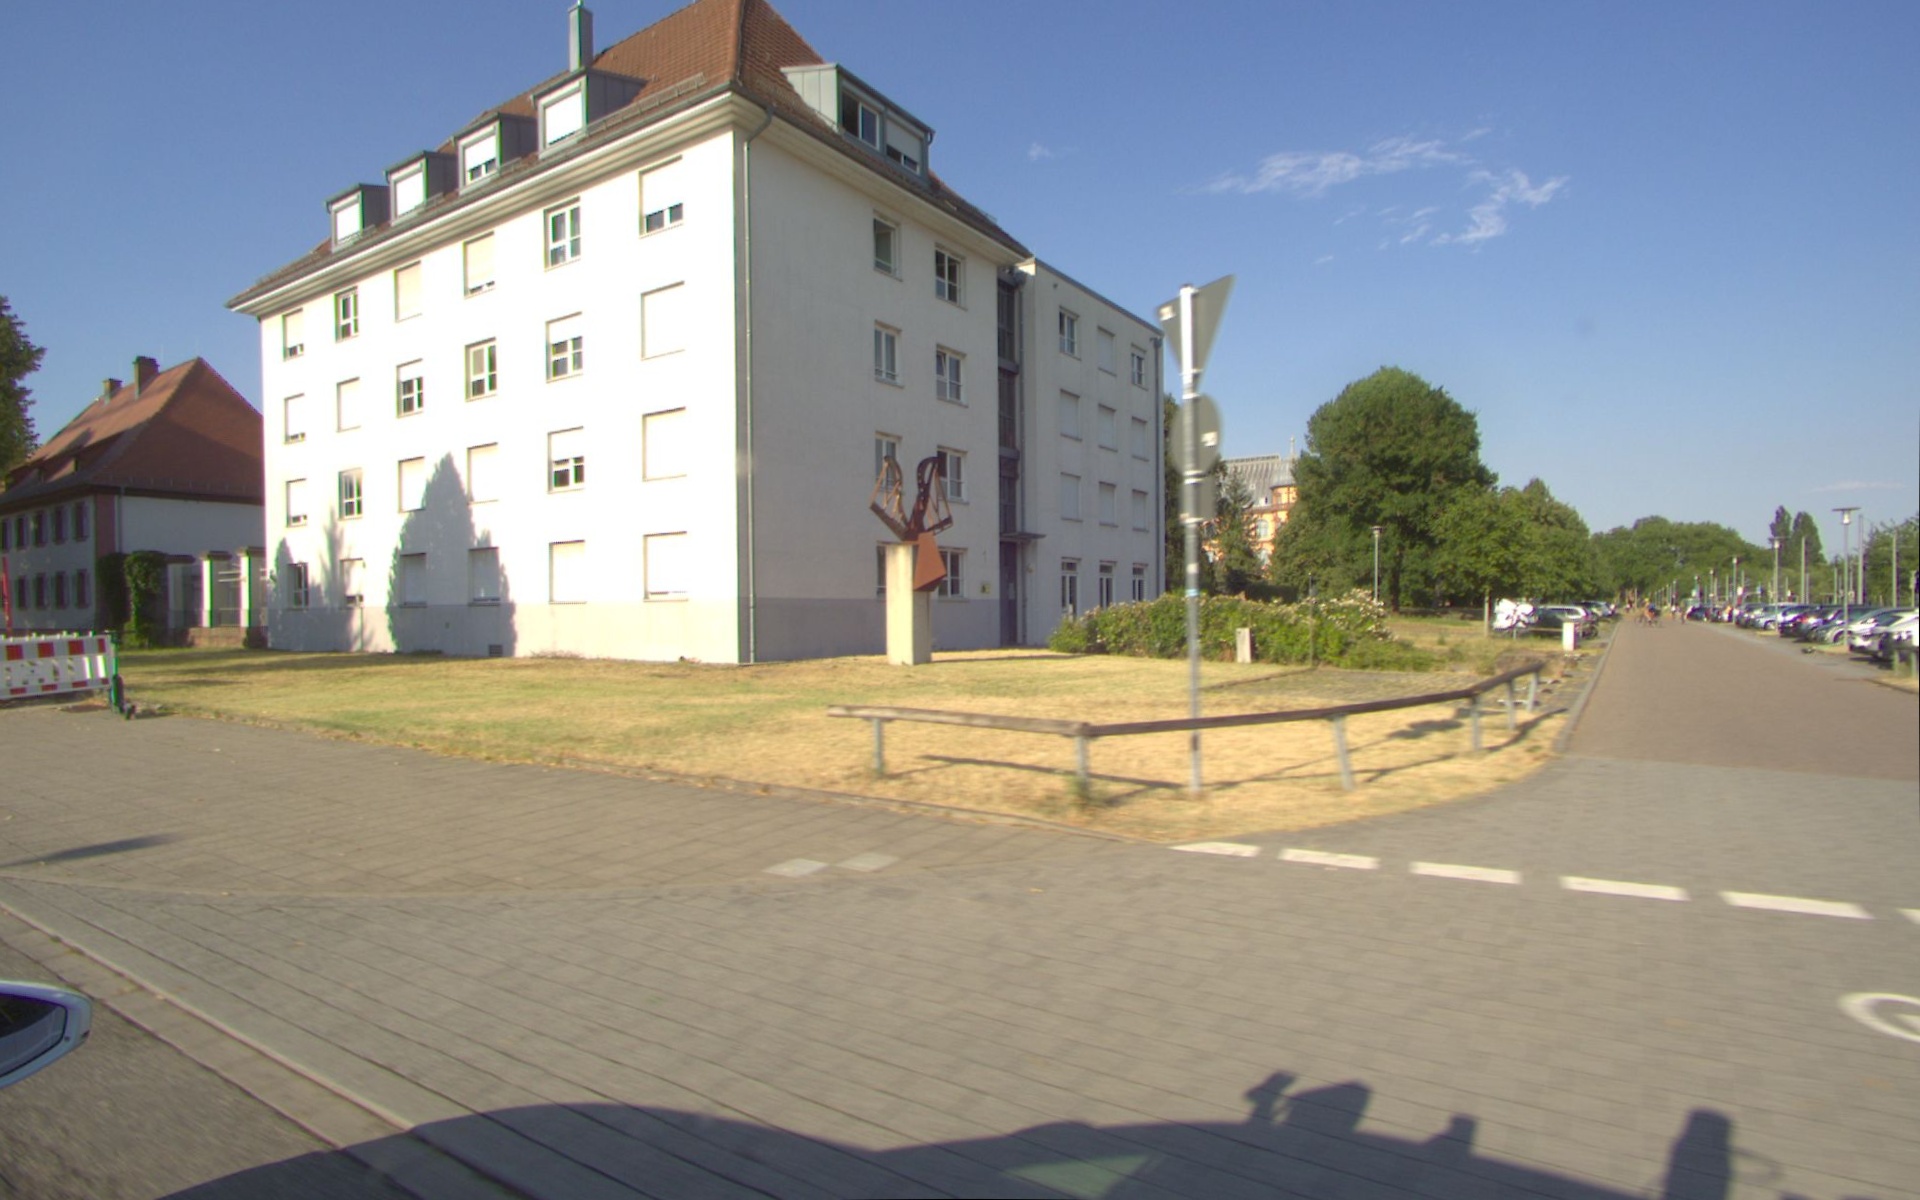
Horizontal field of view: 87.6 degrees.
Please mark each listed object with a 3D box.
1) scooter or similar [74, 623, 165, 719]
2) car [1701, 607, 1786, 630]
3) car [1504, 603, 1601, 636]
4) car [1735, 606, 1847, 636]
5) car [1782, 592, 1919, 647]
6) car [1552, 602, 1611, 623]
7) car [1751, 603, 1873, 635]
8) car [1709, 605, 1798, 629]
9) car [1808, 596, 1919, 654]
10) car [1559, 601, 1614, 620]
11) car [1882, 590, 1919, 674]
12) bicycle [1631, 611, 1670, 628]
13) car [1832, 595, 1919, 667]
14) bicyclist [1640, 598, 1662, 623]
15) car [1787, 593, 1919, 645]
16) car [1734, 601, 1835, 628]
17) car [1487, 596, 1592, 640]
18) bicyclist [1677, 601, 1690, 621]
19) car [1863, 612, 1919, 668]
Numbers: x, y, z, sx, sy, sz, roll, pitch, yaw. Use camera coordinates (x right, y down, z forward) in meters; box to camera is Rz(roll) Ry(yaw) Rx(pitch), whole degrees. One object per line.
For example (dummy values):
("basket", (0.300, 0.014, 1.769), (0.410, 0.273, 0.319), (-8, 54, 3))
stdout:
("scooter or similar", (-12.399, 1.018, 14.763), (1.443, 1.311, 0.557), (-1, 5, 35))
("car", (60.309, 1.434, 77.228), (4.991, 1.725, 2.256), (-1, -1, 35))
("car", (28.500, 0.916, 48.213), (3.944, 1.550, 1.989), (0, 0, 33))
("car", (50.243, 1.286, 60.699), (4.991, 1.725, 2.256), (-1, -1, 35))
("car", (35.177, 0.753, 38.773), (4.991, 2.040, 2.256), (-1, -1, 35))
("car", (48.685, 0.967, 78.463), (3.944, 1.550, 1.989), (0, 0, 33))
("car", (47.858, 1.099, 56.417), (4.991, 1.725, 2.256), (-1, -1, 35))
("car", (58.597, 1.290, 74.075), (4.991, 1.725, 2.256), (-1, -1, 35))
("car", (34.147, 0.896, 36.287), (4.991, 2.040, 2.256), (-1, -1, 35))
("car", (52.949, 0.883, 84.632), (3.944, 1.550, 1.989), (0, 0, 33))
("car", (25.861, 0.730, 24.055), (5.149, 2.040, 2.256), (-2, -1, 35))
("bicycle", (46.106, 1.311, 66.884), (0.664, 1.095, 2.538), (0, 0, -6))
("car", (28.506, 0.858, 28.751), (4.991, 2.040, 2.256), (-1, -1, 35))
("bicyclist", (46.170, 0.700, 66.906), (0.808, 1.613, 0.934), (0, 0, -5))
("car", (37.191, 0.785, 40.932), (4.991, 2.040, 2.256), (-1, -1, 35))
("car", (54.879, 0.976, 66.826), (4.991, 1.725, 2.256), (-1, -1, 35))
("car", (25.478, 0.782, 44.048), (3.944, 1.817, 1.882), (0, 0, 33))
("bicyclist", (56.713, 0.874, 78.460), (0.739, 1.545, 0.889), (0, 0, 31))
("car", (26.728, 1.051, 26.514), (3.946, 1.462, 1.860), (-1, -1, 35))
